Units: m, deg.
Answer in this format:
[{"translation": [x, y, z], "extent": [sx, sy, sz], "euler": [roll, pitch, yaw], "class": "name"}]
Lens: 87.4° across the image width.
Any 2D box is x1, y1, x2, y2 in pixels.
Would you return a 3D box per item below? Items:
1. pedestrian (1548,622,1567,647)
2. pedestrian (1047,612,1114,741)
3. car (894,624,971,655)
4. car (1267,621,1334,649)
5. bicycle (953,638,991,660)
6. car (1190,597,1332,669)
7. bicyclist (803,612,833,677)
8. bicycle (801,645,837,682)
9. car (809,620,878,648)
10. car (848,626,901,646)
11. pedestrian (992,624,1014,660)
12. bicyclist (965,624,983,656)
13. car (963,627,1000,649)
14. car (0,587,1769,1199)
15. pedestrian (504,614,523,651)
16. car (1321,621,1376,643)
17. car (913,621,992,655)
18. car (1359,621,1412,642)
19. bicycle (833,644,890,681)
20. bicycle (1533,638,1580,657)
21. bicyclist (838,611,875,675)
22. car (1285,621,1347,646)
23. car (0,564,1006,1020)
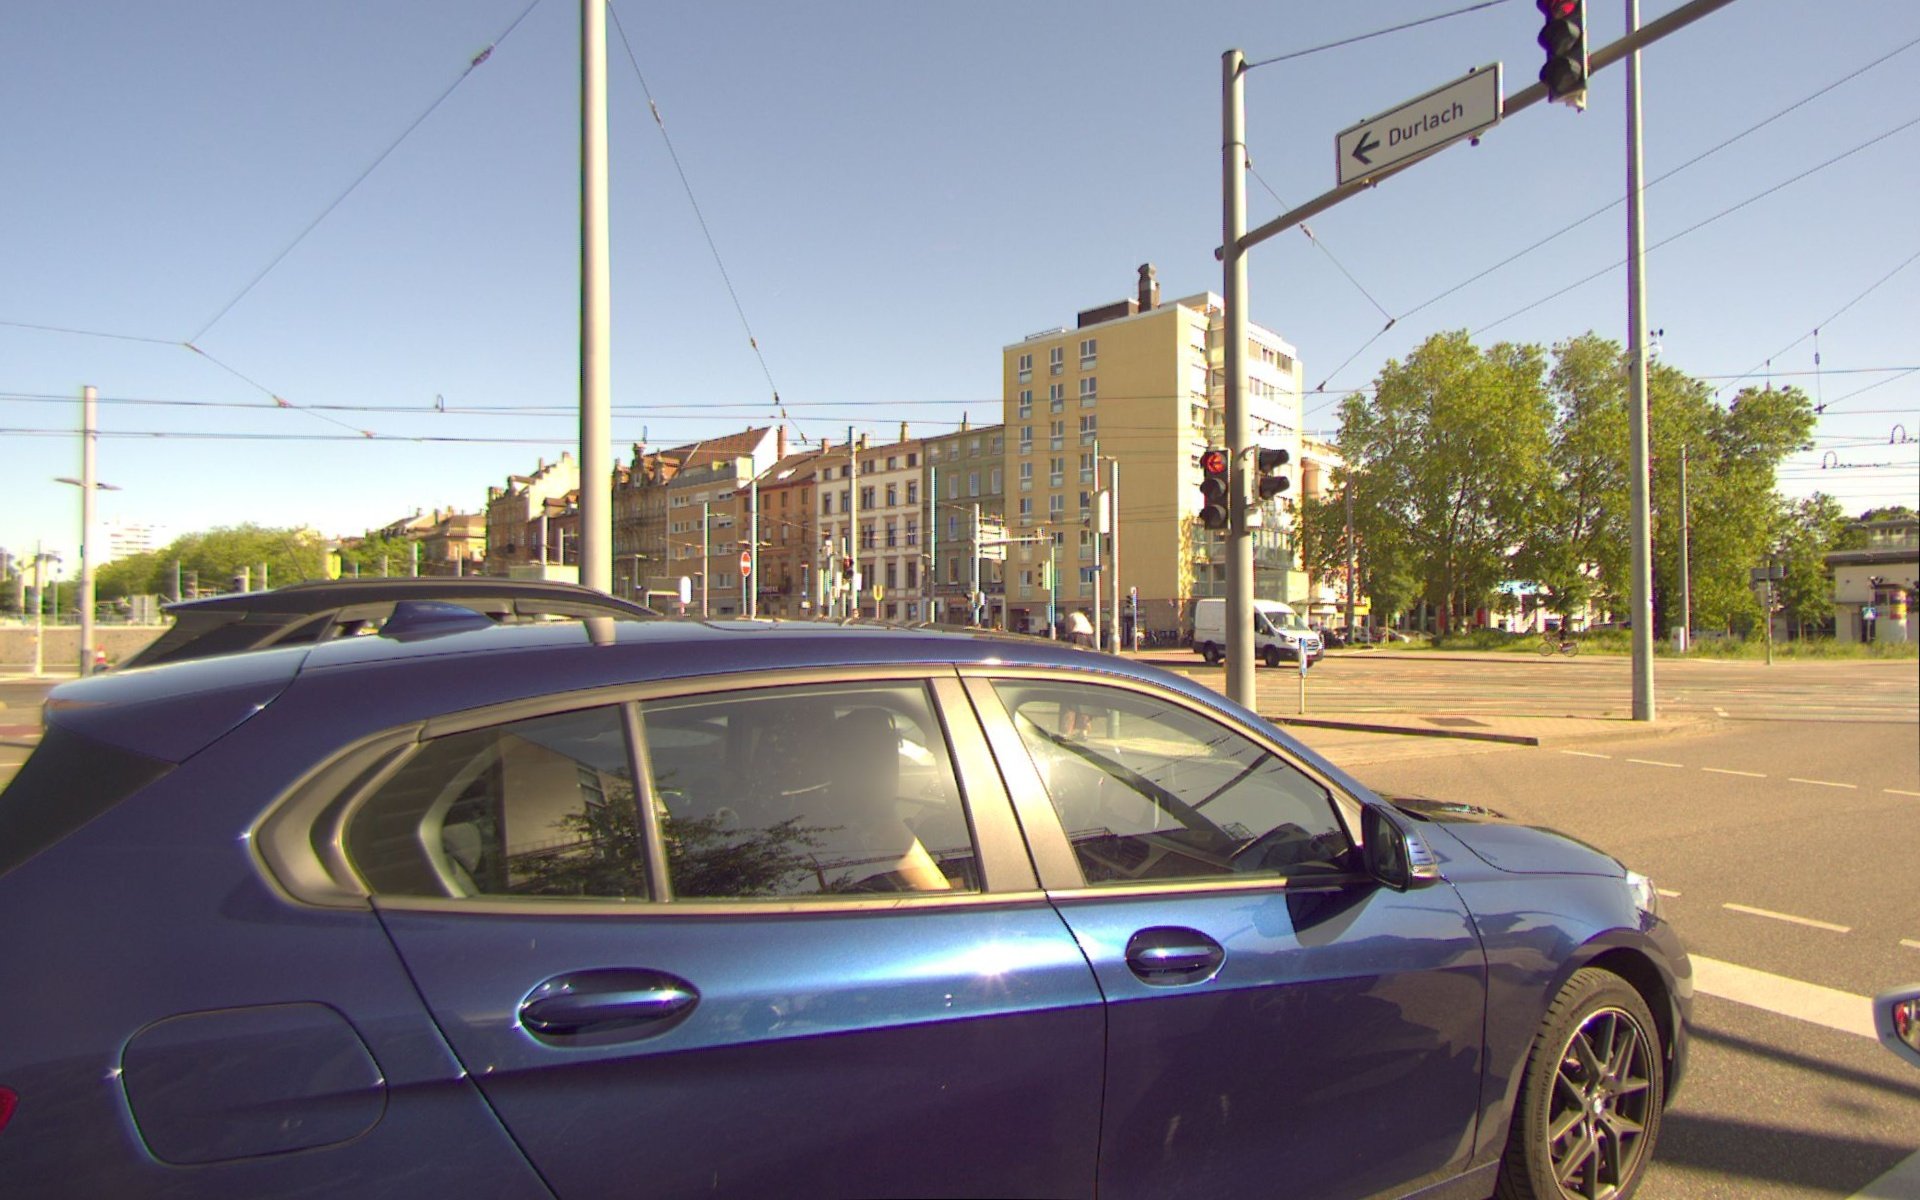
[{"translation": [29.632, 1.719, 49.814], "extent": [0.783, 1.220, 0.558], "euler": [-1, -1, 36], "class": "pedestrian"}, {"translation": [1.511, 0.947, 12.601], "extent": [0.750, 1.575, 0.355], "euler": [1, -1, -24], "class": "pedestrian"}, {"translation": [-1.590, 2.207, 56.362], "extent": [4.246, 1.675, 1.848], "euler": [-1, -2, 42], "class": "car"}, {"translation": [21.580, 2.208, 63.763], "extent": [3.691, 1.684, 1.586], "euler": [-1, -2, 42], "class": "car"}, {"translation": [0.548, 2.252, 46.219], "extent": [1.666, 0.958, 0.614], "euler": [1, -2, -30], "class": "bicycle"}, {"translation": [11.314, 1.242, 38.154], "extent": [1.975, 2.541, 5.380], "euler": [1, -2, -28], "class": "car"}, {"translation": [-3.713, 1.150, 26.220], "extent": [0.667, 1.676, 0.782], "euler": [0, -1, -16], "class": "bicyclist"}, {"translation": [-3.695, 1.626, 26.189], "extent": [0.667, 0.890, 1.892], "euler": [0, -2, -16], "class": "bicycle"}, {"translation": [-7.203, 2.068, 62.077], "extent": [4.244, 1.675, 1.849], "euler": [-1, -2, 40], "class": "car"}, {"translation": [-6.308, 2.655, 74.425], "extent": [1.749, 1.446, 3.863], "euler": [-1, -2, 39], "class": "car"}, {"translation": [1.927, 1.889, 45.185], "extent": [0.669, 1.593, 0.740], "euler": [1, -2, -45], "class": "pedestrian"}, {"translation": [0.635, 1.845, 46.286], "extent": [0.609, 1.462, 0.614], "euler": [1, -1, -30], "class": "bicyclist"}, {"translation": [1.375, 2.495, 66.998], "extent": [1.745, 1.446, 3.873], "euler": [0, -2, -10], "class": "car"}, {"translation": [0.091, 0.752, 2.528], "extent": [3.984, 1.464, 1.703], "euler": [1, 0, -30], "class": "car"}, {"translation": [-21.191, 1.552, 47.659], "extent": [0.672, 1.735, 0.793], "euler": [1, -1, -38], "class": "pedestrian"}, {"translation": [29.869, 2.453, 77.273], "extent": [3.691, 1.684, 1.586], "euler": [-1, -2, 42], "class": "car"}, {"translation": [-0.427, 1.922, 51.613], "extent": [1.857, 1.681, 4.021], "euler": [1, -2, -43], "class": "car"}, {"translation": [34.854, 2.589, 82.308], "extent": [3.691, 1.684, 1.586], "euler": [-1, -2, 42], "class": "car"}, {"translation": [-2.630, 1.633, 26.549], "extent": [0.672, 0.890, 1.880], "euler": [1, -2, -35], "class": "bicycle"}, {"translation": [29.578, 2.339, 49.843], "extent": [1.979, 0.925, 0.560], "euler": [-1, -2, 36], "class": "bicycle"}, {"translation": [-2.757, 1.131, 26.729], "extent": [0.672, 1.676, 0.777], "euler": [1, -1, -35], "class": "bicyclist"}, {"translation": [24.400, 2.294, 68.957], "extent": [3.691, 1.684, 1.586], "euler": [-1, -2, 42], "class": "car"}, {"translation": [-1.911, 0.682, 5.086], "extent": [3.959, 1.537, 1.751], "euler": [1, -1, -28], "class": "car"}]
